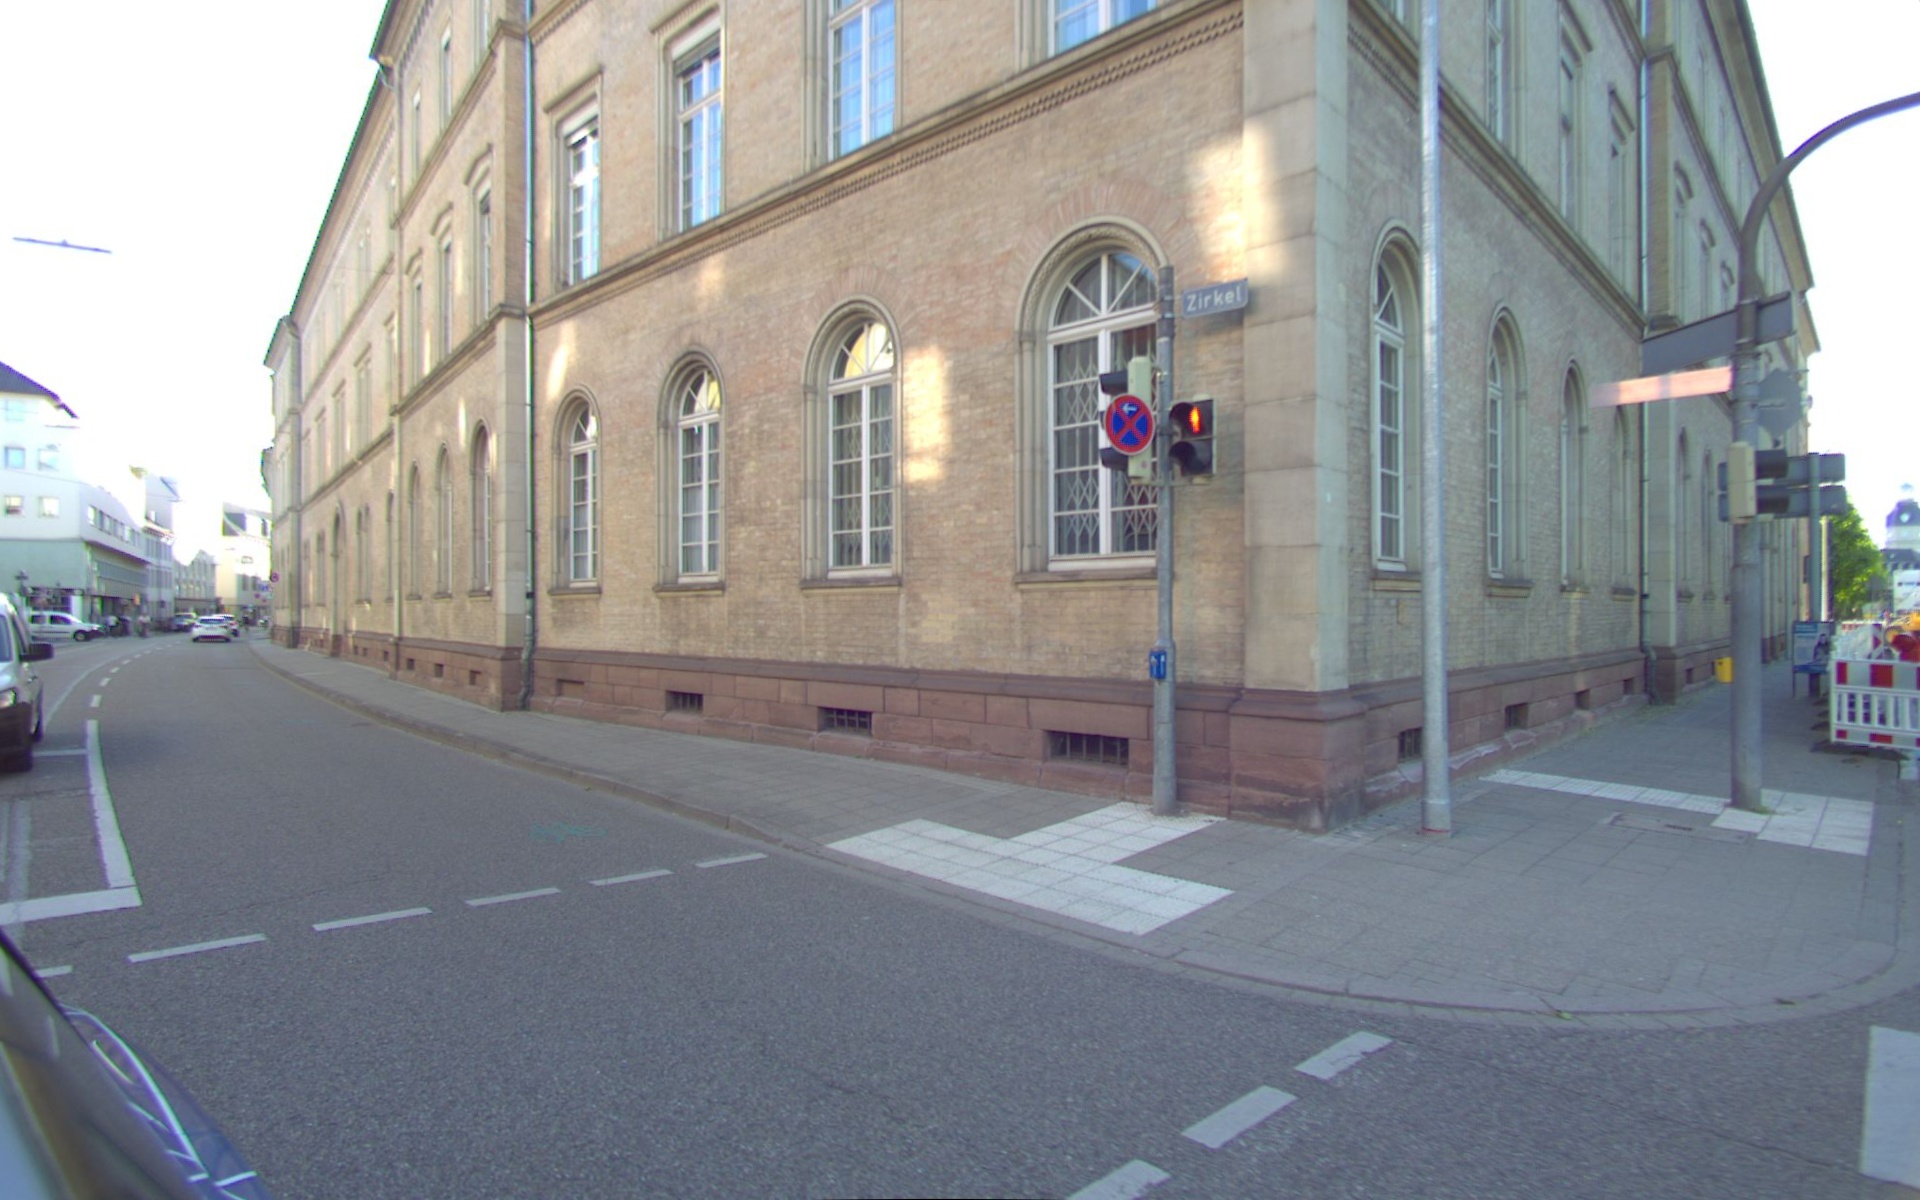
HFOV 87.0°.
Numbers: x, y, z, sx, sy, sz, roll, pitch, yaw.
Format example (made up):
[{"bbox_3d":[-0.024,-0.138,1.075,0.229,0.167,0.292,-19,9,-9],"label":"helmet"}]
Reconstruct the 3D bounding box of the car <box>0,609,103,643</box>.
[{"bbox_3d":[-53.642,1.495,59.507,4.688,1.953,2.006,0,-1,-33],"label":"car"}]

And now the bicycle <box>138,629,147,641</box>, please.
[{"bbox_3d":[-50.559,2.146,62.550,0.343,0.729,1.118,1,-1,-43],"label":"bicycle"}]

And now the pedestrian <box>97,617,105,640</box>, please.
[{"bbox_3d":[-57.906,1.932,68.211,0.365,1.567,0.405,0,-1,-31],"label":"pedestrian"}]

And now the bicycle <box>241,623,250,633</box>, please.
[{"bbox_3d":[-64.815,2.546,91.742,0.599,0.935,2.269,0,-1,-37],"label":"bicycle"}]

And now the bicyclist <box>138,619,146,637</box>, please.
[{"bbox_3d":[-50.565,1.752,62.560,0.343,1.116,0.368,1,-1,-44],"label":"bicyclist"}]

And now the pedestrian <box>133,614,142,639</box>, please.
[{"bbox_3d":[-57.712,1.862,71.001,0.500,1.775,0.412,0,-1,-37],"label":"pedestrian"}]

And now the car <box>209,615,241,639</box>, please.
[{"bbox_3d":[-50.823,1.845,70.009,1.663,1.594,4.285,3,-3,-35],"label":"car"}]

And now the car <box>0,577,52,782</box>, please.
[{"bbox_3d":[-10.927,0.753,10.721,1.792,1.850,5.349,0,-1,-40],"label":"car"}]

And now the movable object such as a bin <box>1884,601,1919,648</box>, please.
[{"bbox_3d":[46.345,1.137,47.469,1.911,2.208,4.007,0,-2,-8],"label":"movable object such as a bin"}]

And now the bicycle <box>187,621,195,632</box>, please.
[{"bbox_3d":[-75.974,2.616,99.983,0.540,1.091,1.968,0,-1,-35],"label":"bicycle"}]

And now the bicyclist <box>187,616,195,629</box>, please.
[{"bbox_3d":[-75.972,2.213,99.982,0.540,1.220,0.585,0,-1,-36],"label":"bicyclist"}]

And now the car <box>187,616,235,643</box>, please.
[{"bbox_3d":[-43.445,1.680,58.752,1.861,1.487,4.558,3,-2,-32],"label":"car"}]

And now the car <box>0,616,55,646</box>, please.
[{"bbox_3d":[-57.516,1.876,61.220,3.935,1.704,1.905,-2,1,-37],"label":"car"}]

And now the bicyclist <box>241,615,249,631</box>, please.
[{"bbox_3d":[-64.830,2.102,91.751,0.595,1.454,0.580,1,-1,-37],"label":"bicyclist"}]
